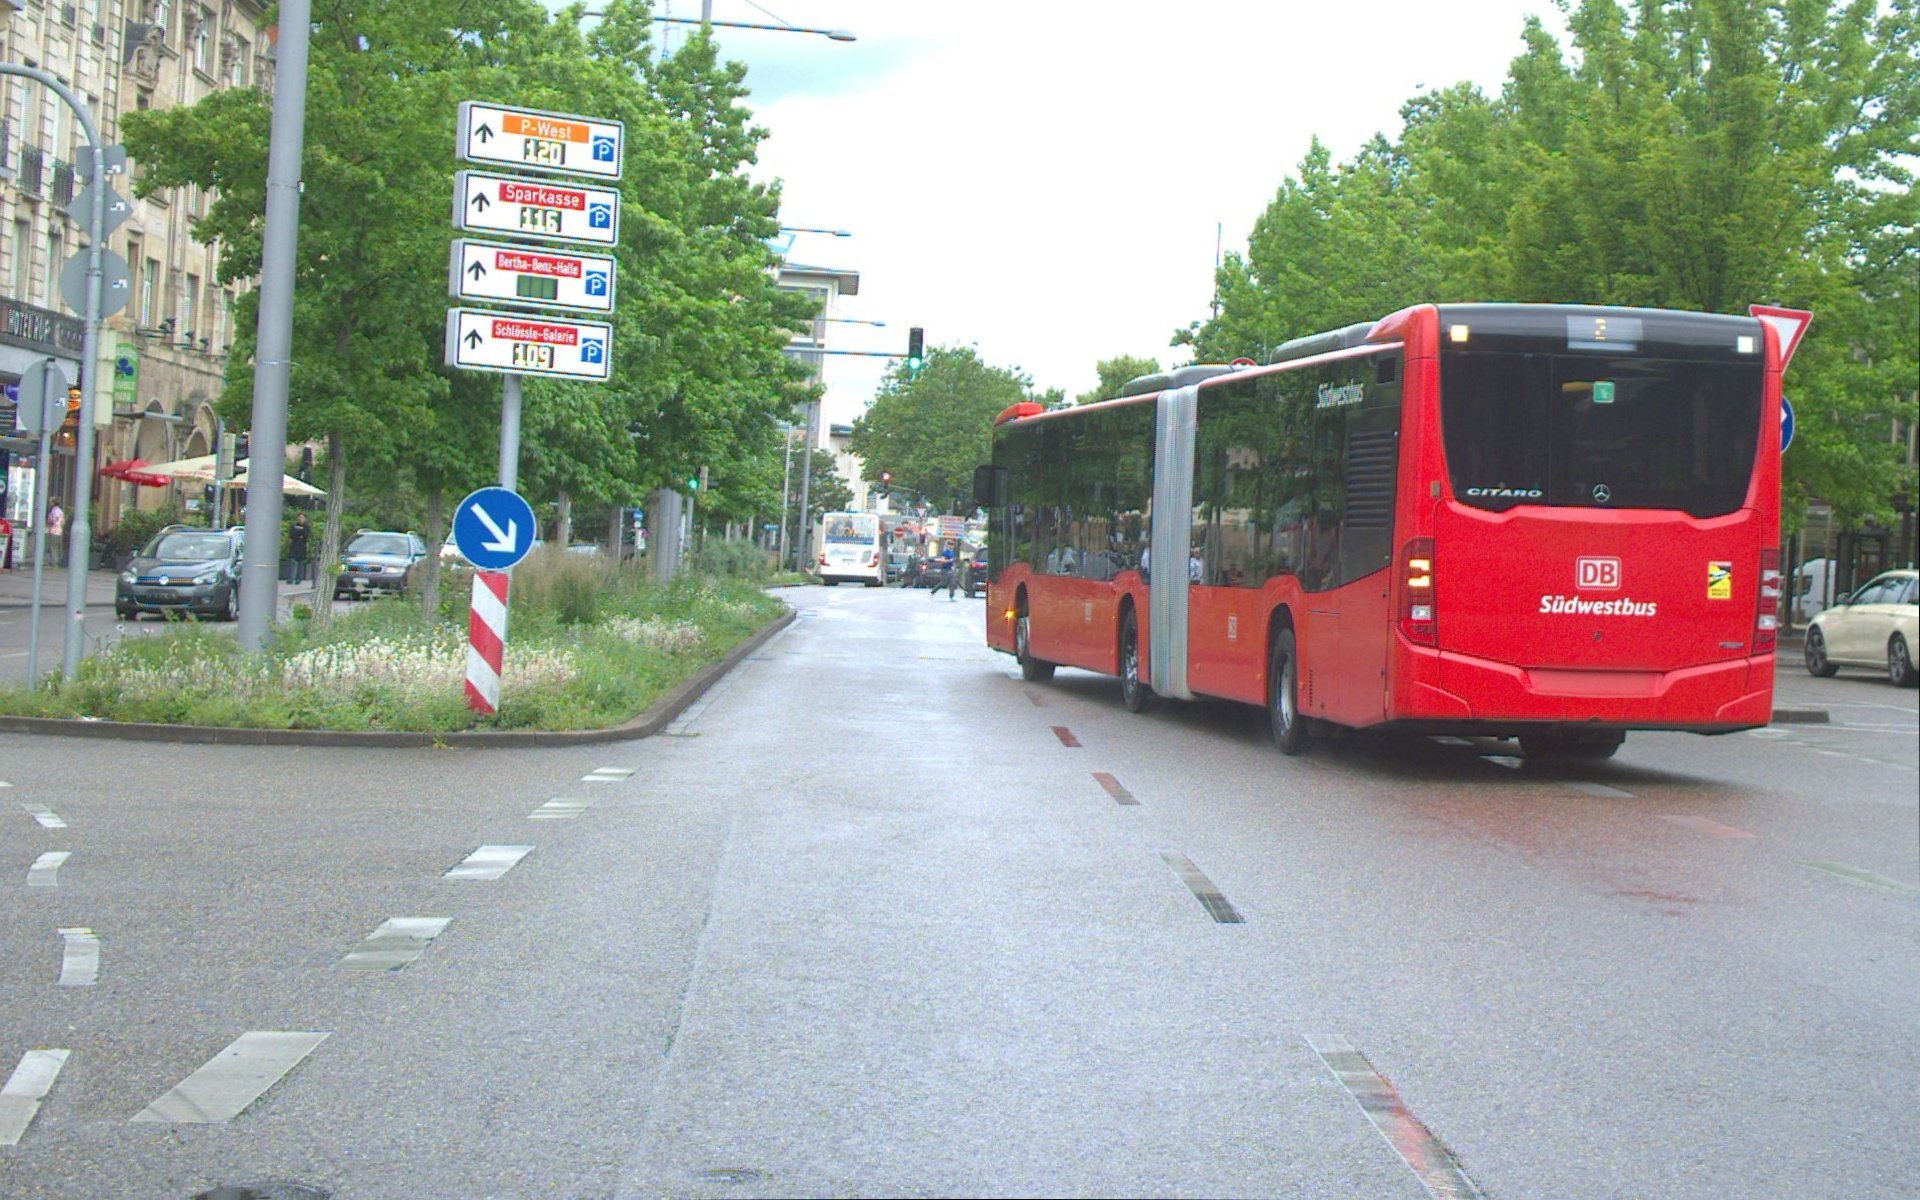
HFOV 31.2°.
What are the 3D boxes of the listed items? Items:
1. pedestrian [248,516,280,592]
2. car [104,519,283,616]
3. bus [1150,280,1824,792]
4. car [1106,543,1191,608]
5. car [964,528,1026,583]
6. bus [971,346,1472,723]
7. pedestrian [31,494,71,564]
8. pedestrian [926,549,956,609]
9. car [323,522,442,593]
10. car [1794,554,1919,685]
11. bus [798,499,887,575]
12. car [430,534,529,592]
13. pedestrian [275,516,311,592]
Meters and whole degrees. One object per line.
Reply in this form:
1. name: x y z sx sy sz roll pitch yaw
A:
1. pedestrian: -15.910 -1.056 78.588 0.575 1.726 0.609 2 1 -1
2. car: -12.022 -0.524 54.167 1.755 1.436 4.060 2 1 2
3. bus: 3.551 -0.465 25.640 2.742 3.163 8.122 1 1 -7
4. car: 4.656 -0.622 85.398 1.816 1.525 4.000 1 1 -1
5. car: 1.167 -1.538 117.092 1.993 1.800 4.690 1 1 -1
6. bus: 2.264 -0.646 34.428 2.742 3.163 10.197 1 1 -8
7. pedestrian: -19.688 -1.537 74.458 0.661 1.505 0.519 1 1 -38
8. pedestrian: -0.555 -0.601 99.030 0.758 1.695 0.559 2 1 6
9. car: -11.809 -0.884 70.526 1.755 1.364 4.060 2 1 0
10. car: 12.610 0.232 44.300 1.993 1.594 4.824 1 1 -7
11. bus: -5.302 -2.835 155.862 3.760 3.198 15.527 1 1 -2
12. car: -12.002 -0.943 86.143 1.755 1.364 4.060 2 1 2
13. pedestrian: -15.207 -1.054 78.411 0.674 1.696 0.634 2 1 -1
